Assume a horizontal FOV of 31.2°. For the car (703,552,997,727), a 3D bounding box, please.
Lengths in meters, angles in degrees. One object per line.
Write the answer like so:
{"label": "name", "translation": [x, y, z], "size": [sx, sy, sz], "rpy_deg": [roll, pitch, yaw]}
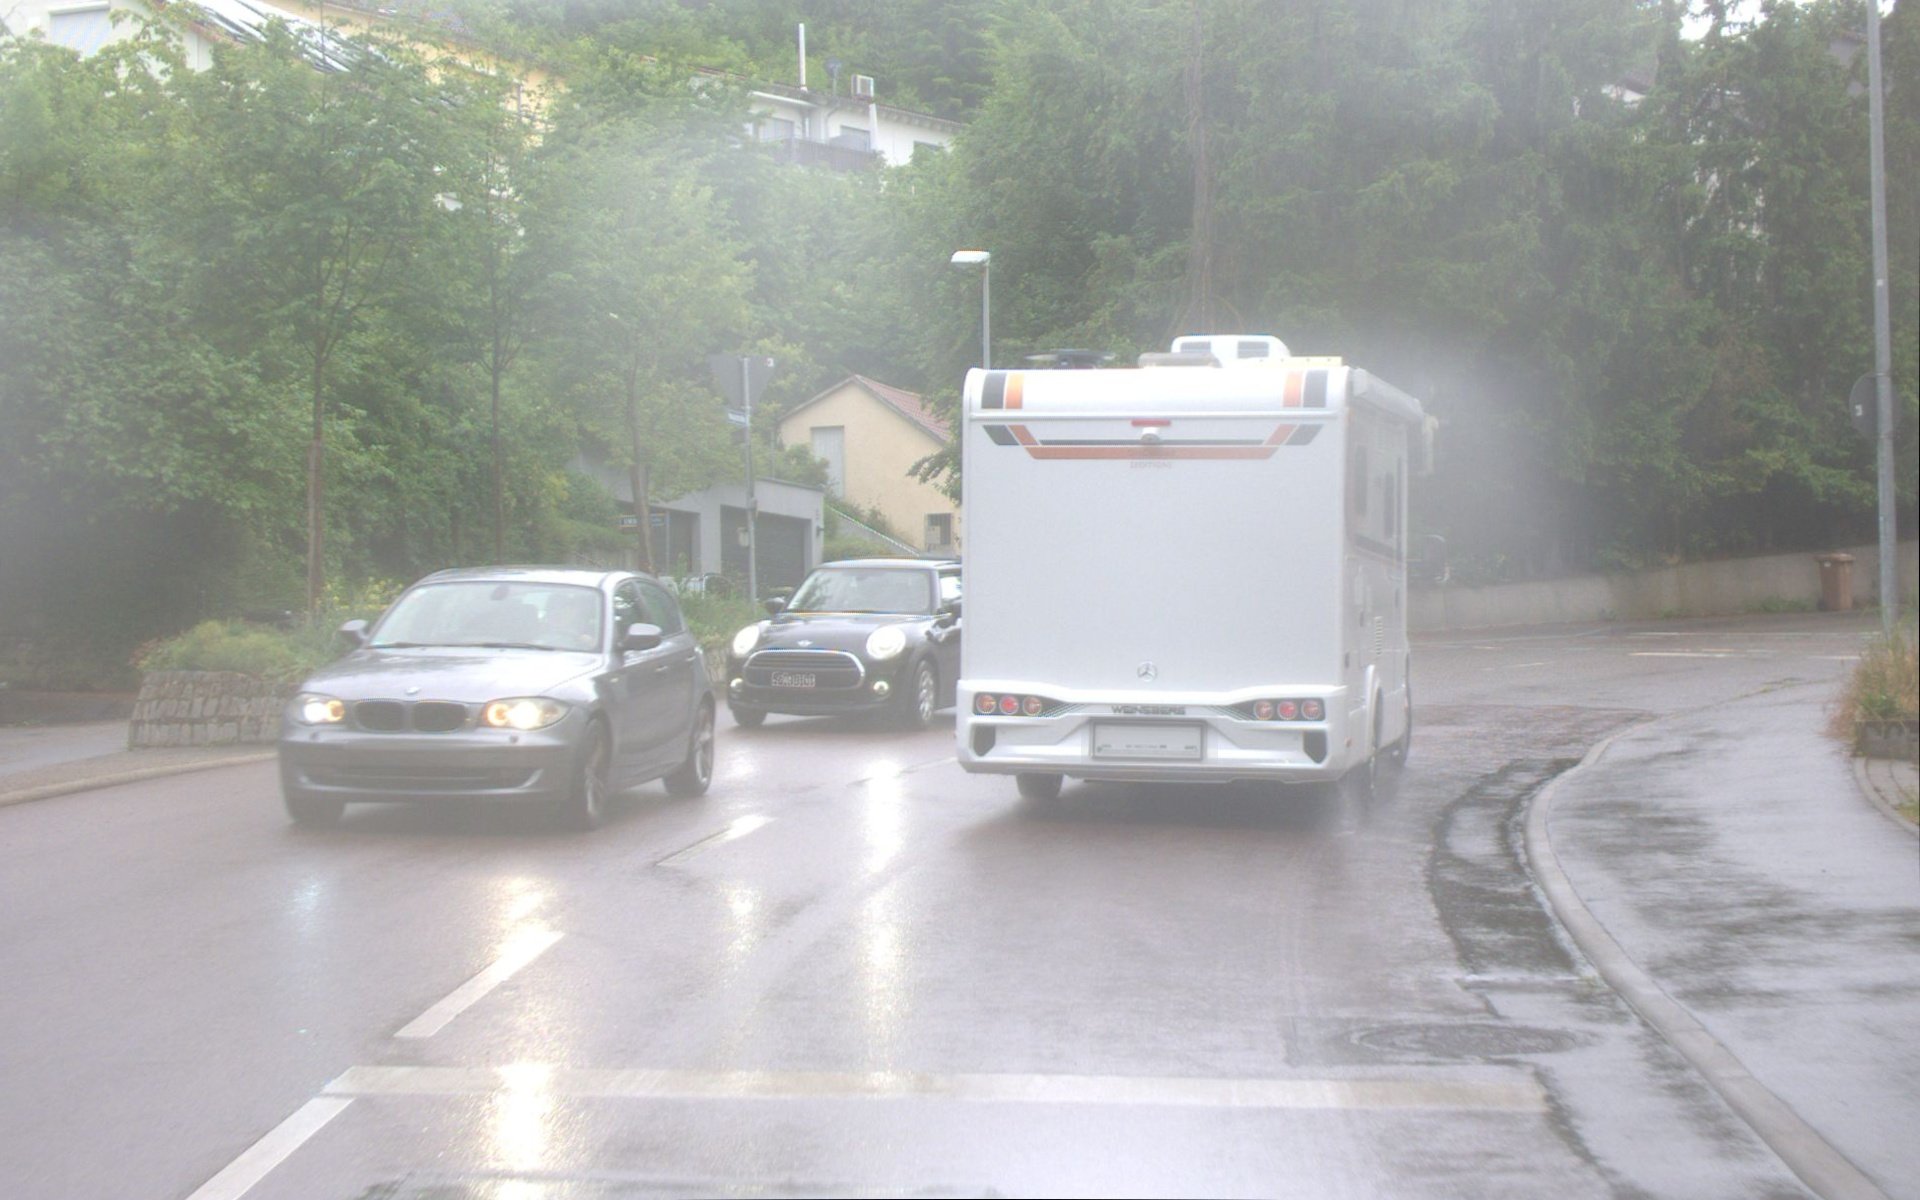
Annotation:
{"label": "car", "translation": [-0.881, 0.298, 29.739], "size": [1.677, 1.400, 3.676], "rpy_deg": [1, 1, 13]}

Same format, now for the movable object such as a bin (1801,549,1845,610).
{"label": "movable object such as a bin", "translation": [14.125, -0.341, 56.298], "size": [0.489, 0.976, 0.501], "rpy_deg": [-3, 2, -40]}

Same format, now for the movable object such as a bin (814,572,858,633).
{"label": "movable object such as a bin", "translation": [-2.507, 0.050, 69.497], "size": [0.705, 1.218, 0.590], "rpy_deg": [1, 1, 20]}

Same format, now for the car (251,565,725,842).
{"label": "car", "translation": [-2.599, 0.515, 19.848], "size": [1.819, 1.417, 3.899], "rpy_deg": [0, 1, 6]}

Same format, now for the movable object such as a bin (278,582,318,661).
{"label": "movable object such as a bin", "translation": [-8.964, 0.286, 46.567], "size": [0.366, 1.060, 0.499], "rpy_deg": [0, 1, 11]}

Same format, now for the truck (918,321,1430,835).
{"label": "truck", "translation": [1.582, -0.168, 22.079], "size": [2.516, 2.808, 6.199], "rpy_deg": [0, 1, 11]}

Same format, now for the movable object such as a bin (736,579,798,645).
{"label": "movable object such as a bin", "translation": [-3.525, 0.217, 62.909], "size": [0.853, 1.194, 0.932], "rpy_deg": [1, 1, 17]}
